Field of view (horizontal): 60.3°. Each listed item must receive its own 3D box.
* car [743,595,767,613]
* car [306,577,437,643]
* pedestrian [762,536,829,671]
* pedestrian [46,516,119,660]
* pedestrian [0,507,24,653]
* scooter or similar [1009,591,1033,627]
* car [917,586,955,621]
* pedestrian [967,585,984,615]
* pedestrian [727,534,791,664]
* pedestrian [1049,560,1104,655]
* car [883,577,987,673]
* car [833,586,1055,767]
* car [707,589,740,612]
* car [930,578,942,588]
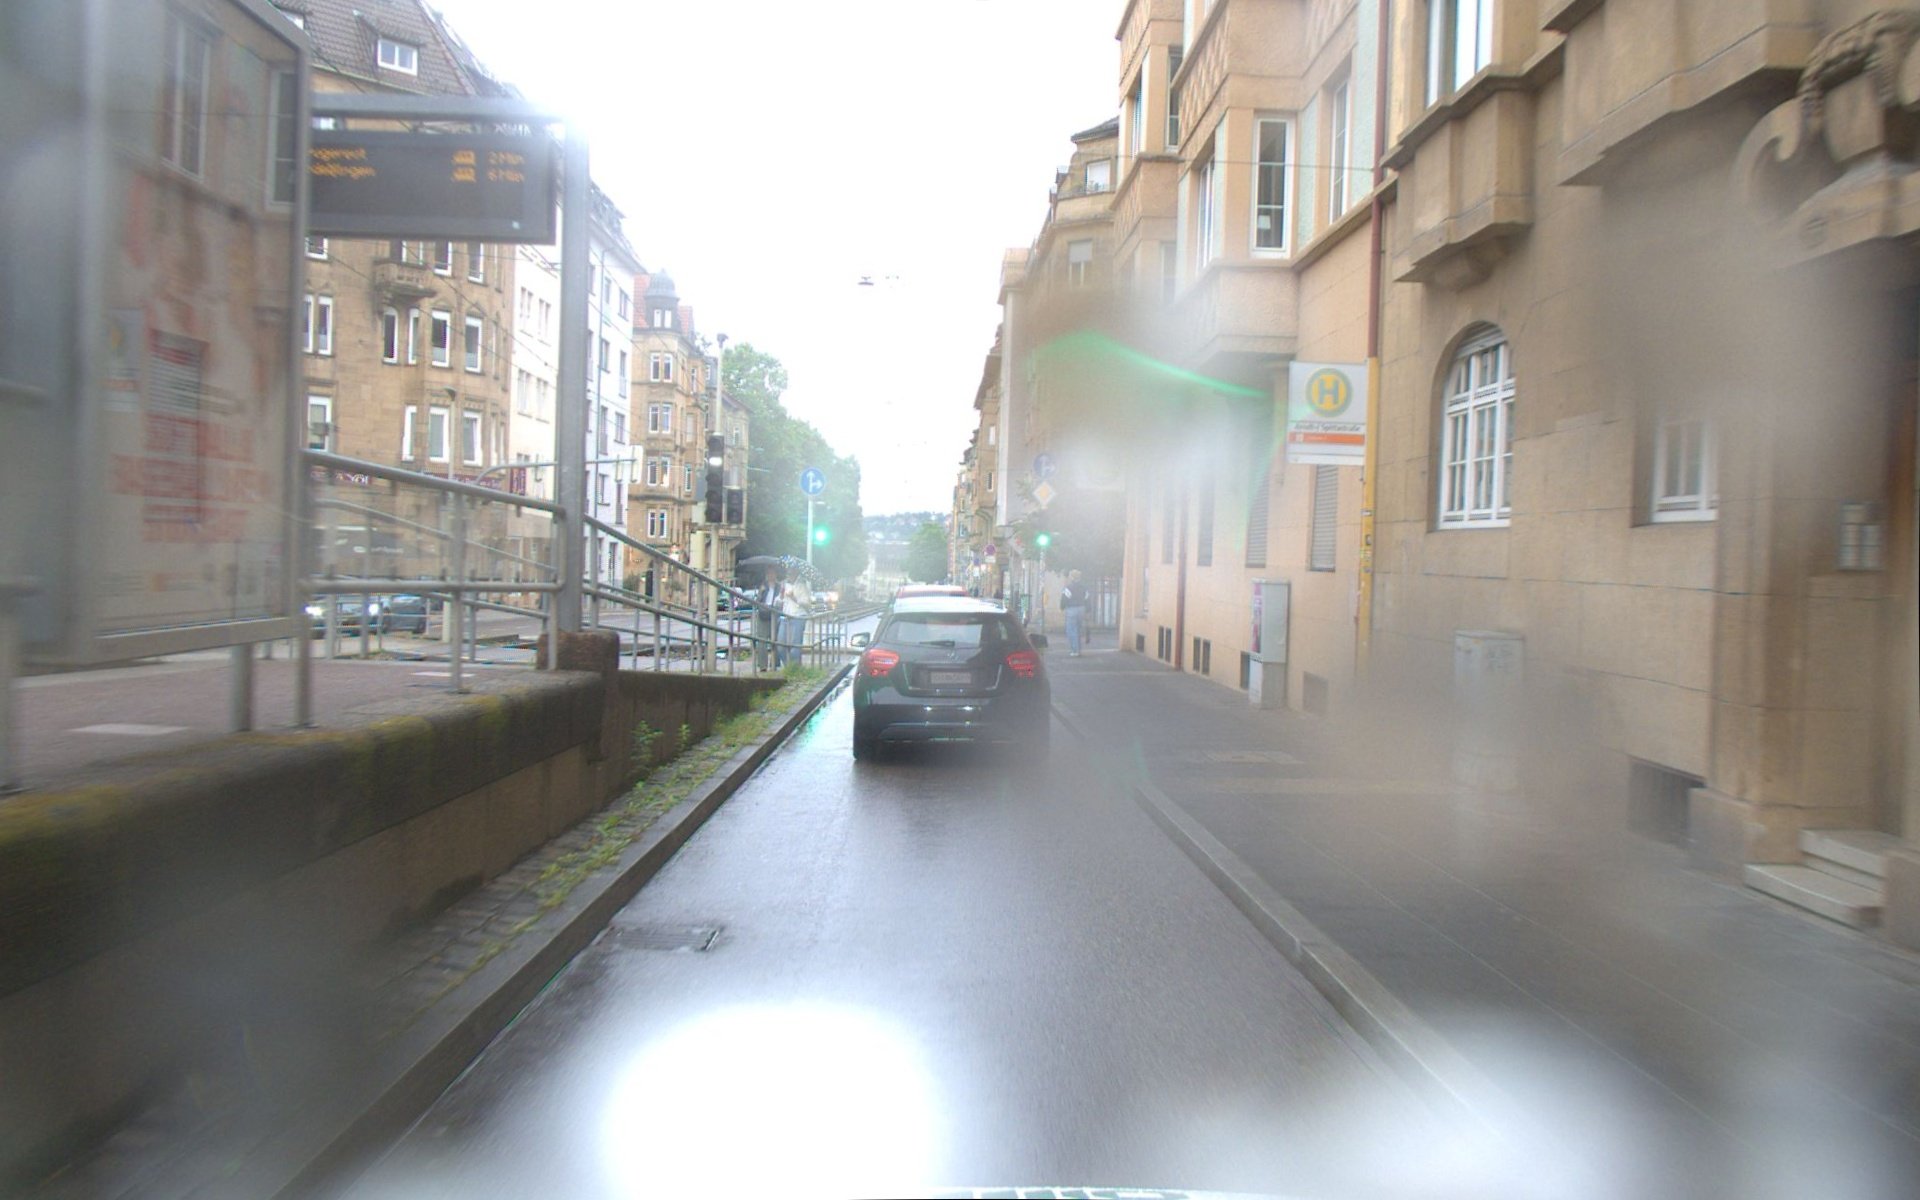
[{"bbox_3d":[-16.910,0.306,136.435,1.537,1.438,3.481,0,0,1],"label":"car"},{"bbox_3d":[-14.666,0.218,41.492,1.610,1.523,4.763,1,0,-1],"label":"car"},{"bbox_3d":[-2.557,0.050,25.738,0.907,2.049,0.947,2,0,-1],"label":"pedestrian"},{"bbox_3d":[-11.557,-0.160,21.801,0.500,1.850,0.799,2,0,-1],"label":"pedestrian"},{"bbox_3d":[-10.952,-0.233,18.213,0.678,1.611,0.956,2,-2,-1],"label":"pedestrian"},{"bbox_3d":[2.136,0.315,57.909,0.625,1.231,1.551,0,0,-5],"label":"scooter or similar"},{"bbox_3d":[-1.145,0.161,78.393,1.729,1.586,4.744,0,0,-1],"label":"car"},{"bbox_3d":[0.930,0.006,98.025,0.926,1.800,1.014,0,0,-3],"label":"pedestrian"},{"bbox_3d":[-3.248,-0.024,26.804,0.879,2.049,0.947,2,0,-1],"label":"pedestrian"},{"bbox_3d":[2.406,0.149,33.977,0.944,1.872,0.903,-2,0,11],"label":"pedestrian"},{"bbox_3d":[-0.406,0.380,28.227,1.616,1.477,4.000,1,0,0],"label":"car"},{"bbox_3d":[-0.111,0.630,15.849,1.828,1.477,4.000,1,0,1],"label":"car"},{"bbox_3d":[-16.545,0.001,115.977,1.687,1.568,3.934,0,0,1],"label":"car"},{"bbox_3d":[-3.374,-2.383,230.075,1.581,1.340,3.999,2,0,-1],"label":"car"}]
